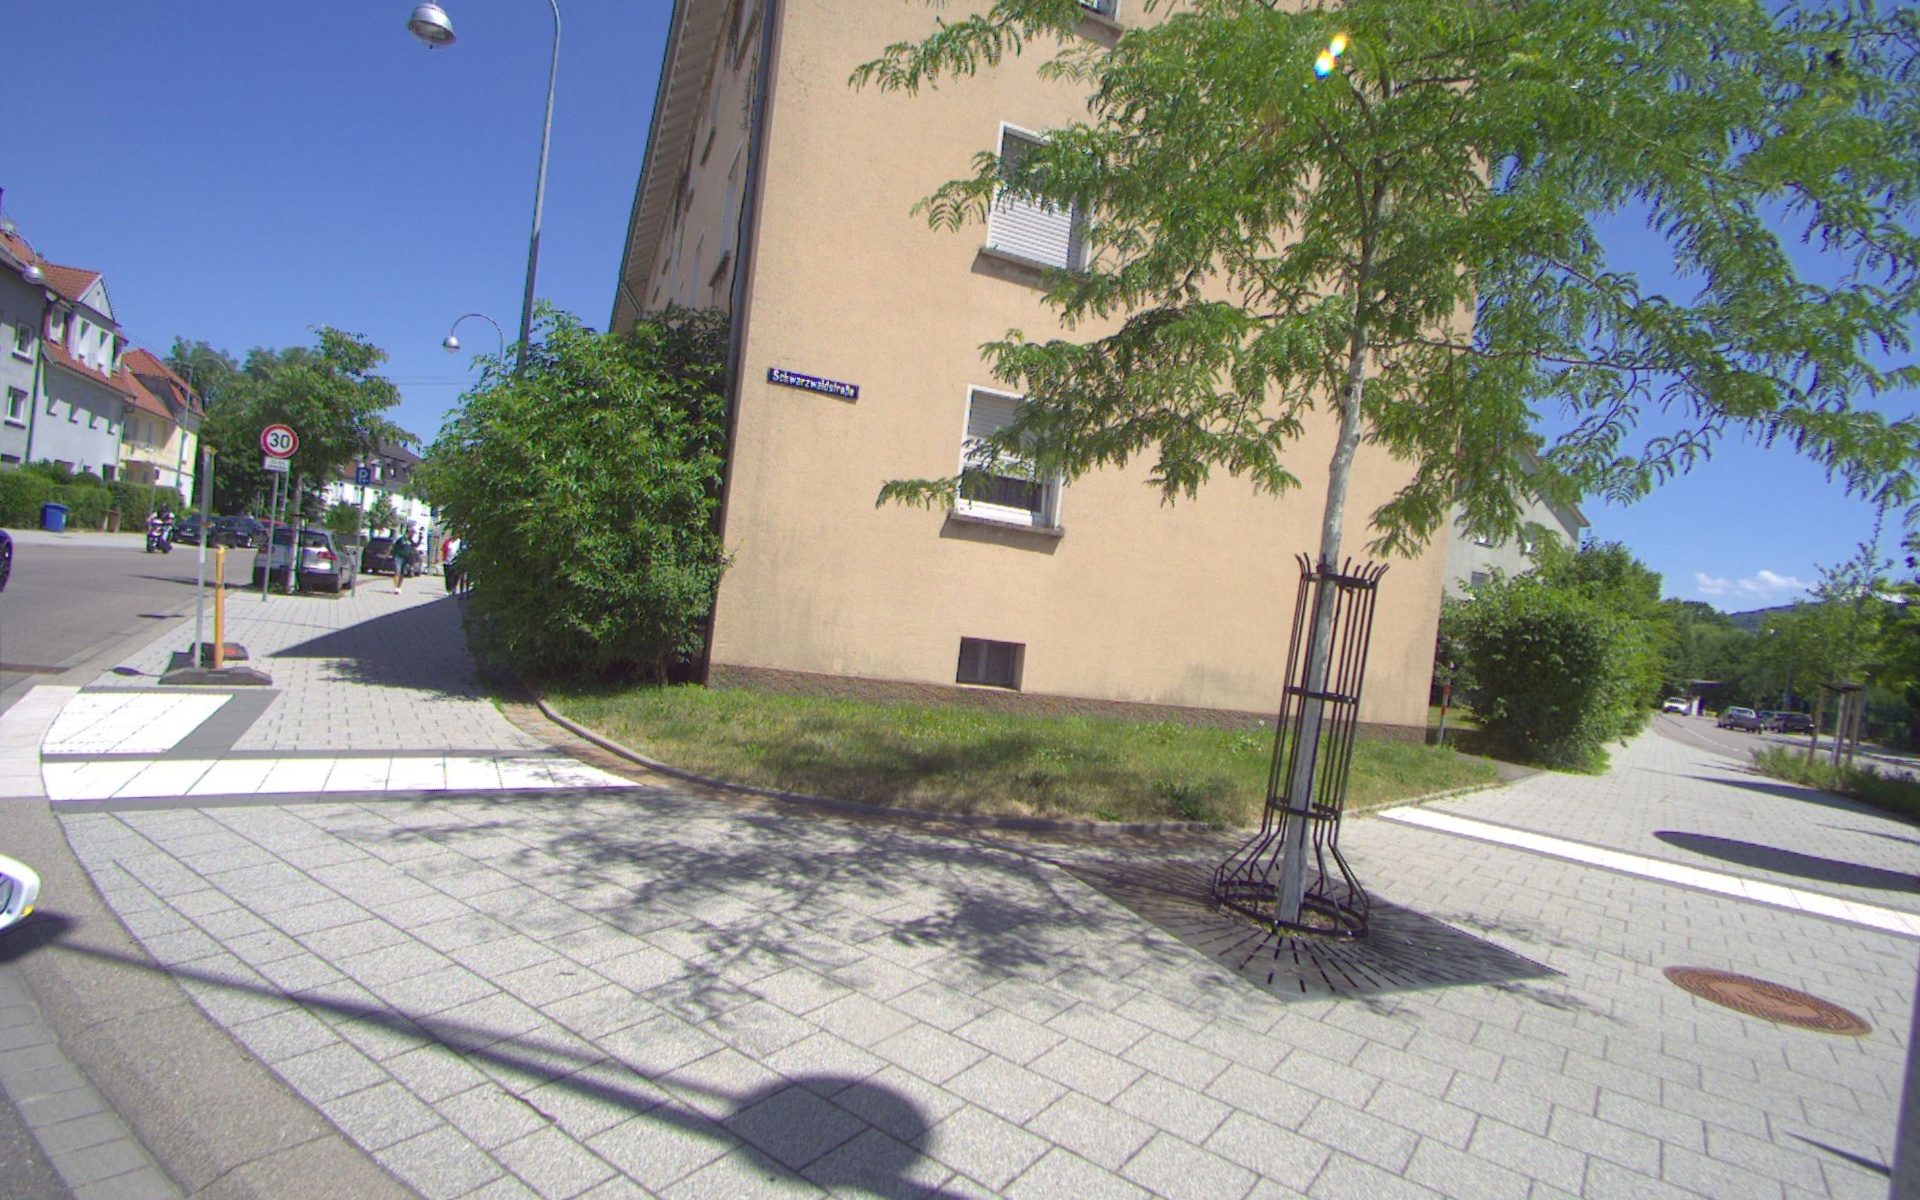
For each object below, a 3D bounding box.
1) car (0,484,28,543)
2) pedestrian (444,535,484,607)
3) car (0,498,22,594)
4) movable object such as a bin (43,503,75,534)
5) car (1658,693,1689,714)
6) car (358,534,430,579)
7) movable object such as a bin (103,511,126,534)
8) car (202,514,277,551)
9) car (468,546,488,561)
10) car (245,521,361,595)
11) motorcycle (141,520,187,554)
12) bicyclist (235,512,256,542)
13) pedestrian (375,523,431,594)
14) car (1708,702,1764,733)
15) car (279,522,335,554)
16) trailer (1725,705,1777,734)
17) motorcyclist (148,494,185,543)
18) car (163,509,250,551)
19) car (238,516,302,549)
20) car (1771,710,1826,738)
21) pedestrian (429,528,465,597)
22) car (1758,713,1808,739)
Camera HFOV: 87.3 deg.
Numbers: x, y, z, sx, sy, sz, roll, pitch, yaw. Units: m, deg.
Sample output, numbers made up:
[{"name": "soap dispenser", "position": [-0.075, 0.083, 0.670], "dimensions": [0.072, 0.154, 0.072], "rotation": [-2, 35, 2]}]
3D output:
[{"name": "car", "position": [-27.990, -2.572, 26.940], "dimensions": [2.059, 1.634, 5.094], "rotation": [8, 0, -13]}, {"name": "pedestrian", "position": [-13.191, -0.774, 26.762], "dimensions": [0.786, 1.801, 1.002], "rotation": [6, 1, -26]}, {"name": "car", "position": [-13.422, -0.800, 12.417], "dimensions": [1.860, 1.357, 4.555], "rotation": [9, -2, -34]}, {"name": "movable object such as a bin", "position": [-33.935, -3.066, 37.910], "dimensions": [0.666, 1.061, 0.648], "rotation": [6, 1, -23]}, {"name": "car", "position": [67.099, 9.720, 94.668], "dimensions": [1.967, 1.621, 3.997], "rotation": [5, -4, 32]}, {"name": "car", "position": [-22.615, -1.747, 40.353], "dimensions": [1.814, 1.523, 5.036], "rotation": [5, 1, -23]}, {"name": "movable object such as a bin", "position": [-37.144, -3.398, 44.198], "dimensions": [0.489, 0.923, 0.702], "rotation": [6, 1, -23]}, {"name": "car", "position": [-37.069, -3.443, 51.932], "dimensions": [1.846, 1.479, 5.276], "rotation": [9, 0, -23]}, {"name": "car", "position": [-57.332, -5.540, 119.641], "dimensions": [1.859, 1.617, 4.334], "rotation": [5, 1, -24]}, {"name": "car", "position": [-16.274, -1.025, 25.119], "dimensions": [1.796, 1.495, 4.478], "rotation": [6, 0, -26]}, {"name": "motorcycle", "position": [-26.704, -2.089, 33.784], "dimensions": [0.599, 1.012, 1.791], "rotation": [6, 0, -20]}, {"name": "bicyclist", "position": [-43.640, -4.445, 61.453], "dimensions": [0.774, 1.680, 0.830], "rotation": [6, 1, -24]}, {"name": "pedestrian", "position": [-14.691, -1.079, 26.559], "dimensions": [1.160, 1.755, 1.183], "rotation": [4, 1, -27]}, {"name": "car", "position": [47.955, 7.290, 62.218], "dimensions": [1.966, 1.621, 4.000], "rotation": [5, -4, 28]}, {"name": "car", "position": [-34.263, -3.219, 52.861], "dimensions": [1.713, 1.430, 3.977], "rotation": [5, 1, -23]}, {"name": "trailer", "position": [46.257, 7.007, 58.905], "dimensions": [1.735, 1.380, 3.306], "rotation": [5, -4, 28]}, {"name": "motorcyclist", "position": [-26.636, -2.729, 33.789], "dimensions": [0.595, 1.543, 0.891], "rotation": [6, 0, -21]}, {"name": "car", "position": [-34.470, -3.171, 46.149], "dimensions": [1.769, 1.476, 4.179], "rotation": [10, -1, -18]}, {"name": "car", "position": [-39.288, -3.803, 57.373], "dimensions": [1.860, 1.496, 4.712], "rotation": [10, -1, -22]}, {"name": "car", "position": [58.329, 8.643, 70.046], "dimensions": [1.966, 1.621, 4.173], "rotation": [5, -4, 28]}, {"name": "pedestrian", "position": [-14.307, -1.052, 28.078], "dimensions": [0.780, 1.835, 0.999], "rotation": [4, 2, -26]}, {"name": "car", "position": [60.780, 9.290, 74.378], "dimensions": [1.966, 1.621, 4.000], "rotation": [5, -4, 28]}]
